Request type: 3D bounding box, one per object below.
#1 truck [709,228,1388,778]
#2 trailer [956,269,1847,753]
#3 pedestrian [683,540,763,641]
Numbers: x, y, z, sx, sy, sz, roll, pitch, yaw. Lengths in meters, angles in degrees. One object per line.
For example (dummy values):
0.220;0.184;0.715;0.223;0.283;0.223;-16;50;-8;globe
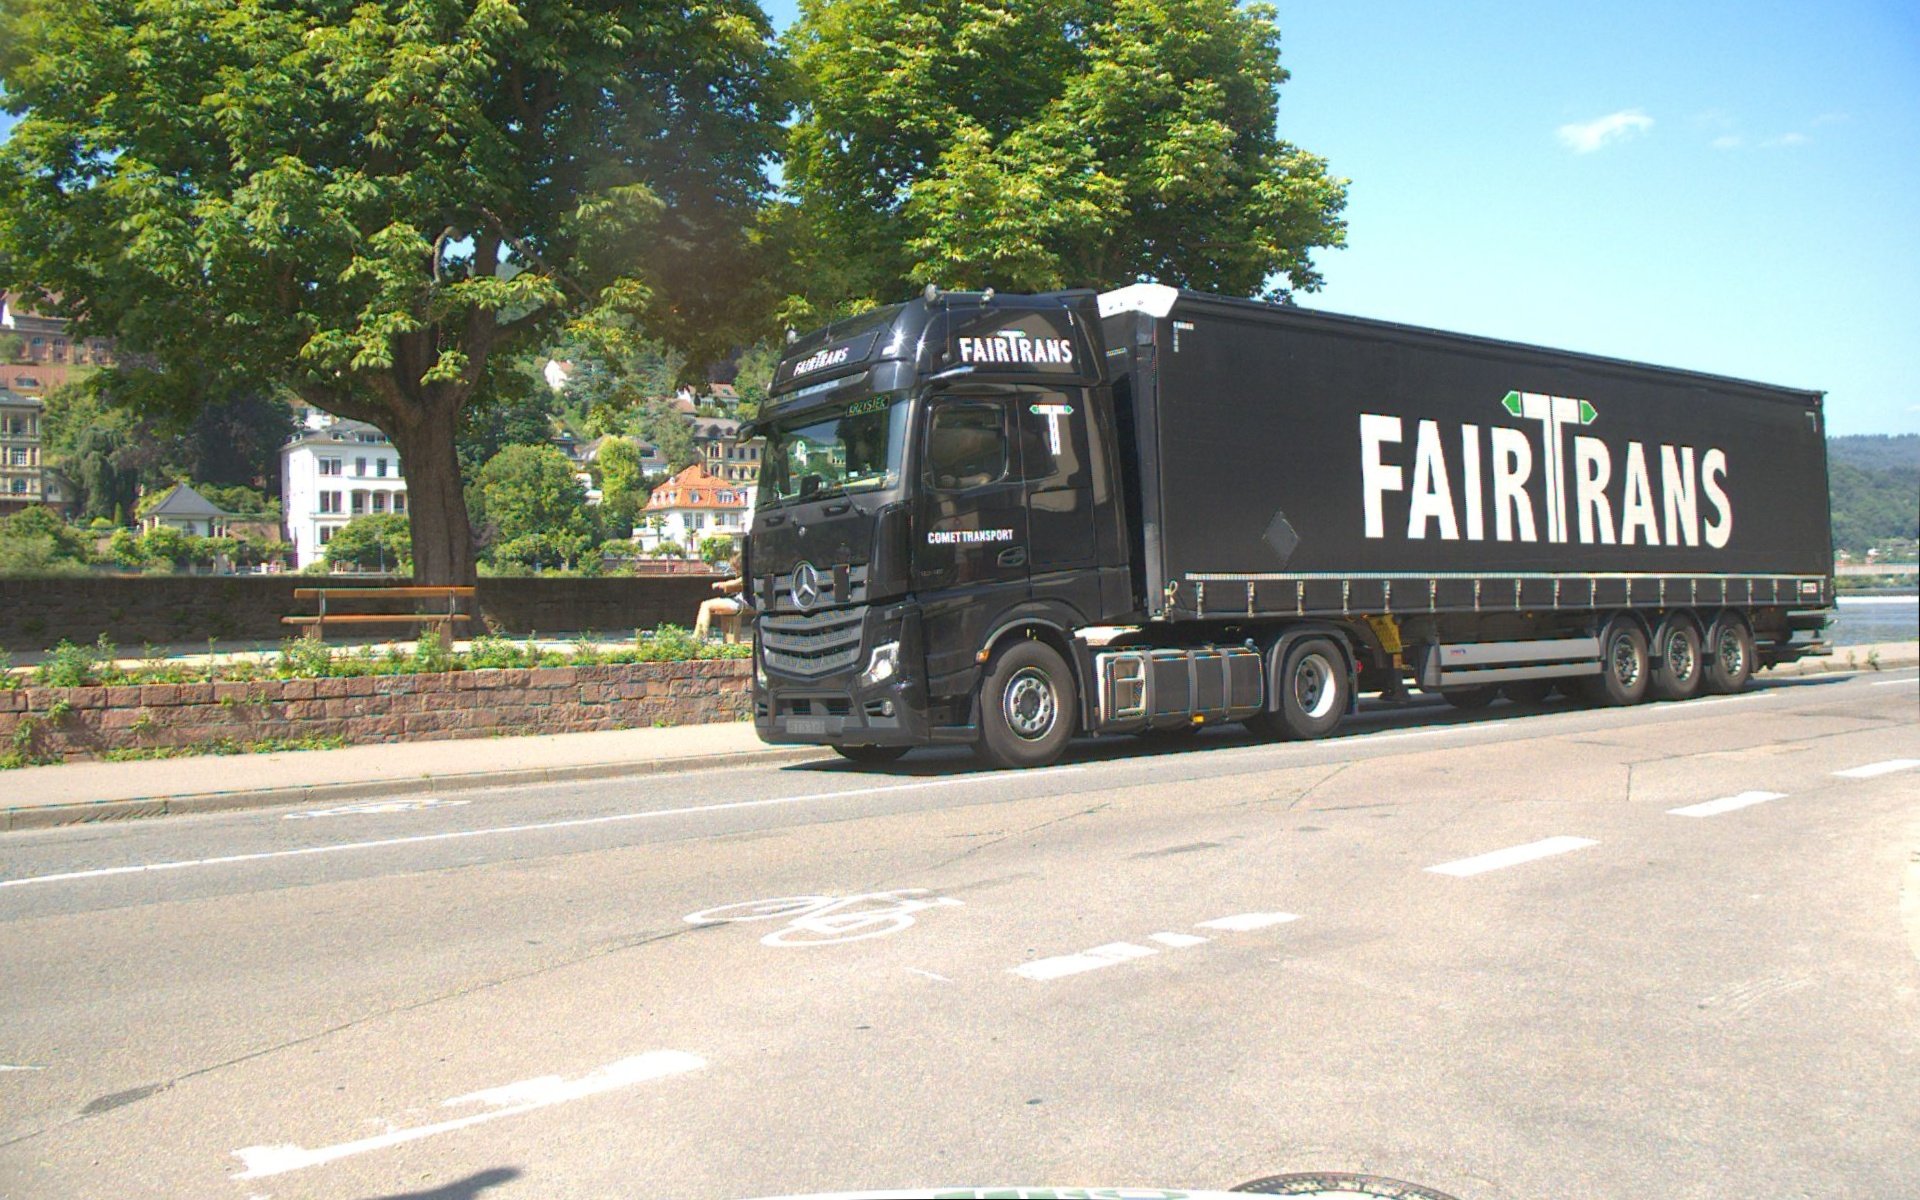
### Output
0.976;-0.730;15.396;5.876;4.142;2.799;-1;-2;-40;truck
6.133;-0.834;19.720;13.641;4.176;2.801;-1;-2;-40;trailer
-3.049;-0.111;21.282;0.791;1.232;0.707;2;-5;-35;pedestrian
